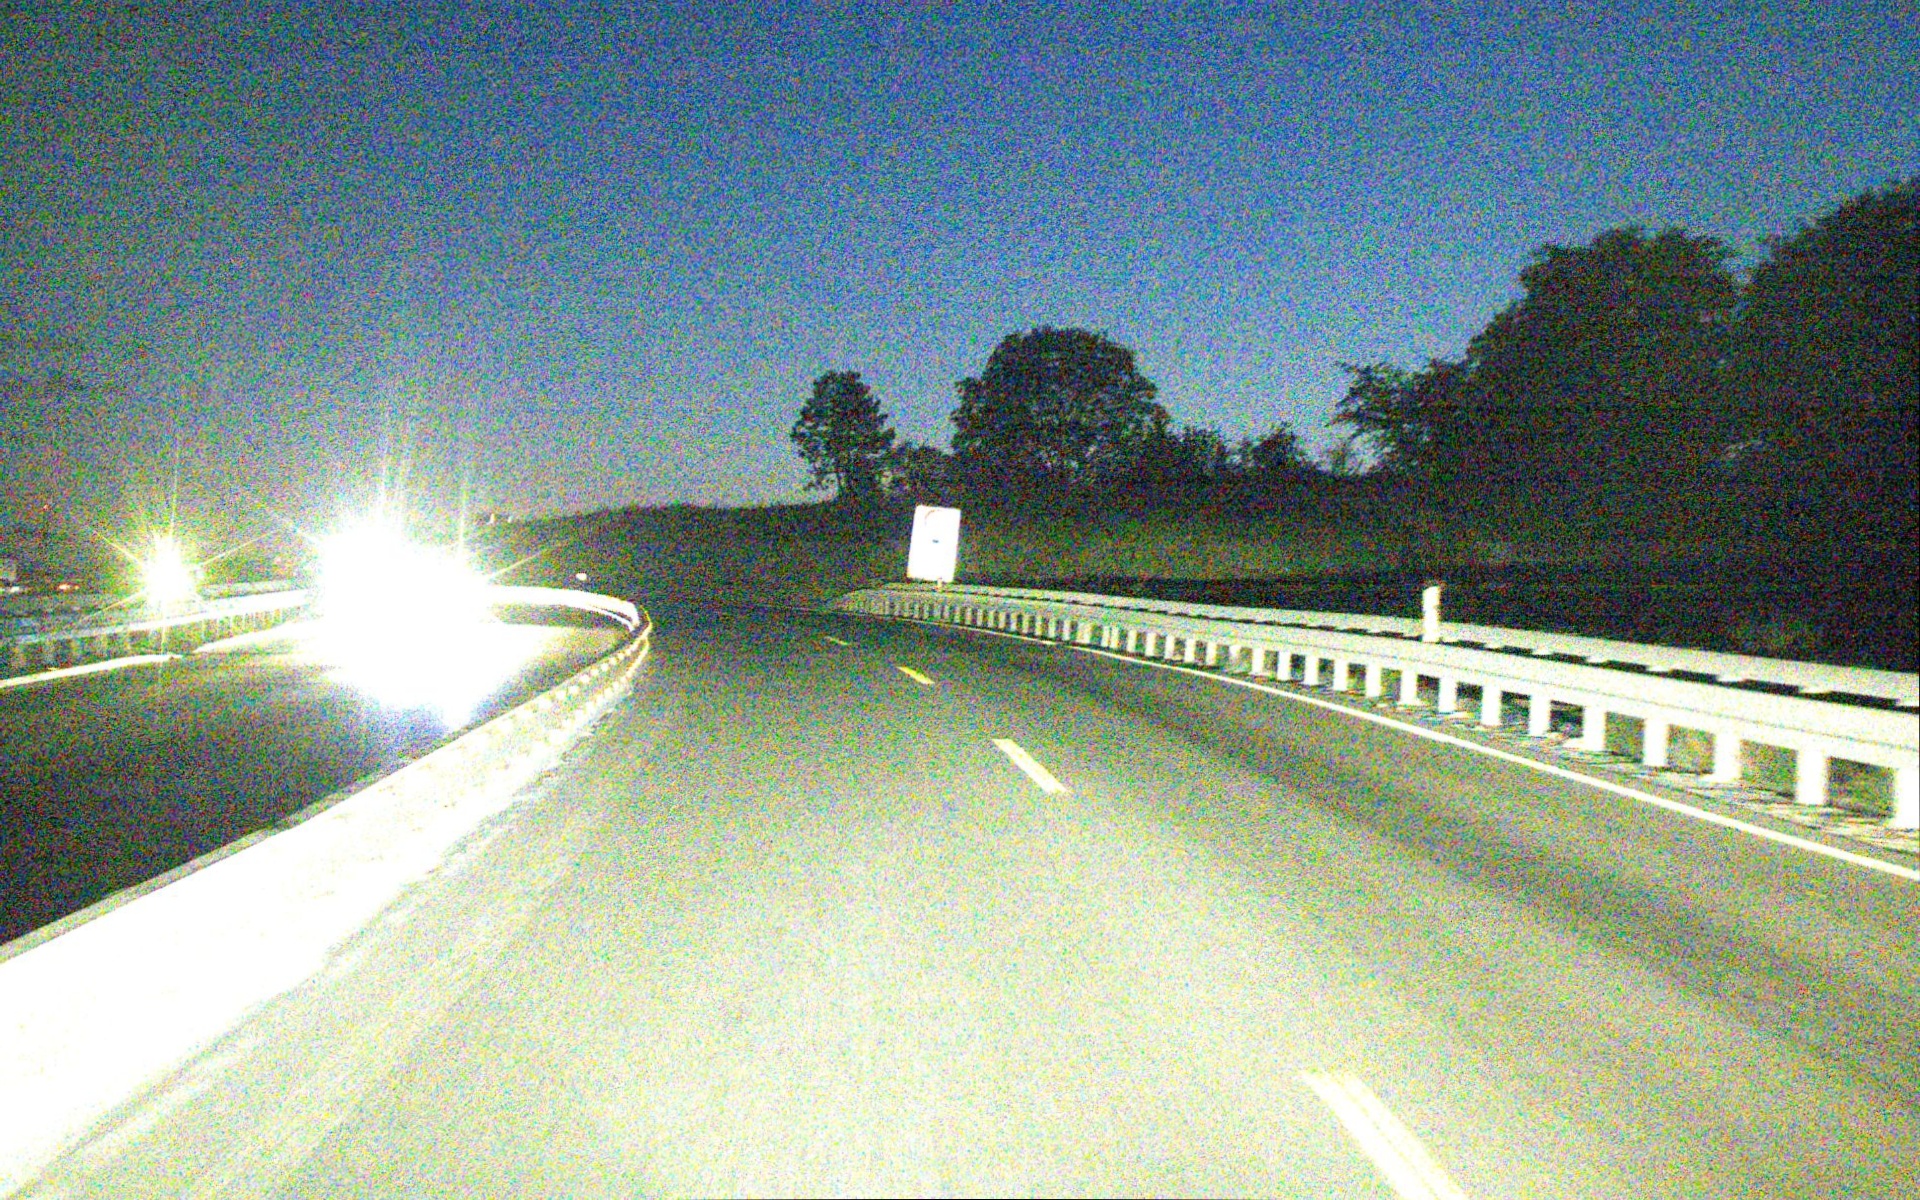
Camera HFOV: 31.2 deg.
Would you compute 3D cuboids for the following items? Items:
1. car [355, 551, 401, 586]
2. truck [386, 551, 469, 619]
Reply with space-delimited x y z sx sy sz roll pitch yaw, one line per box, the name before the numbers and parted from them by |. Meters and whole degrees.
car | -25.082 -1.332 148.046 1.712 1.438 4.488 -1 0 -12
truck | -11.906 -0.327 77.024 1.682 1.465 4.154 1 0 -7
